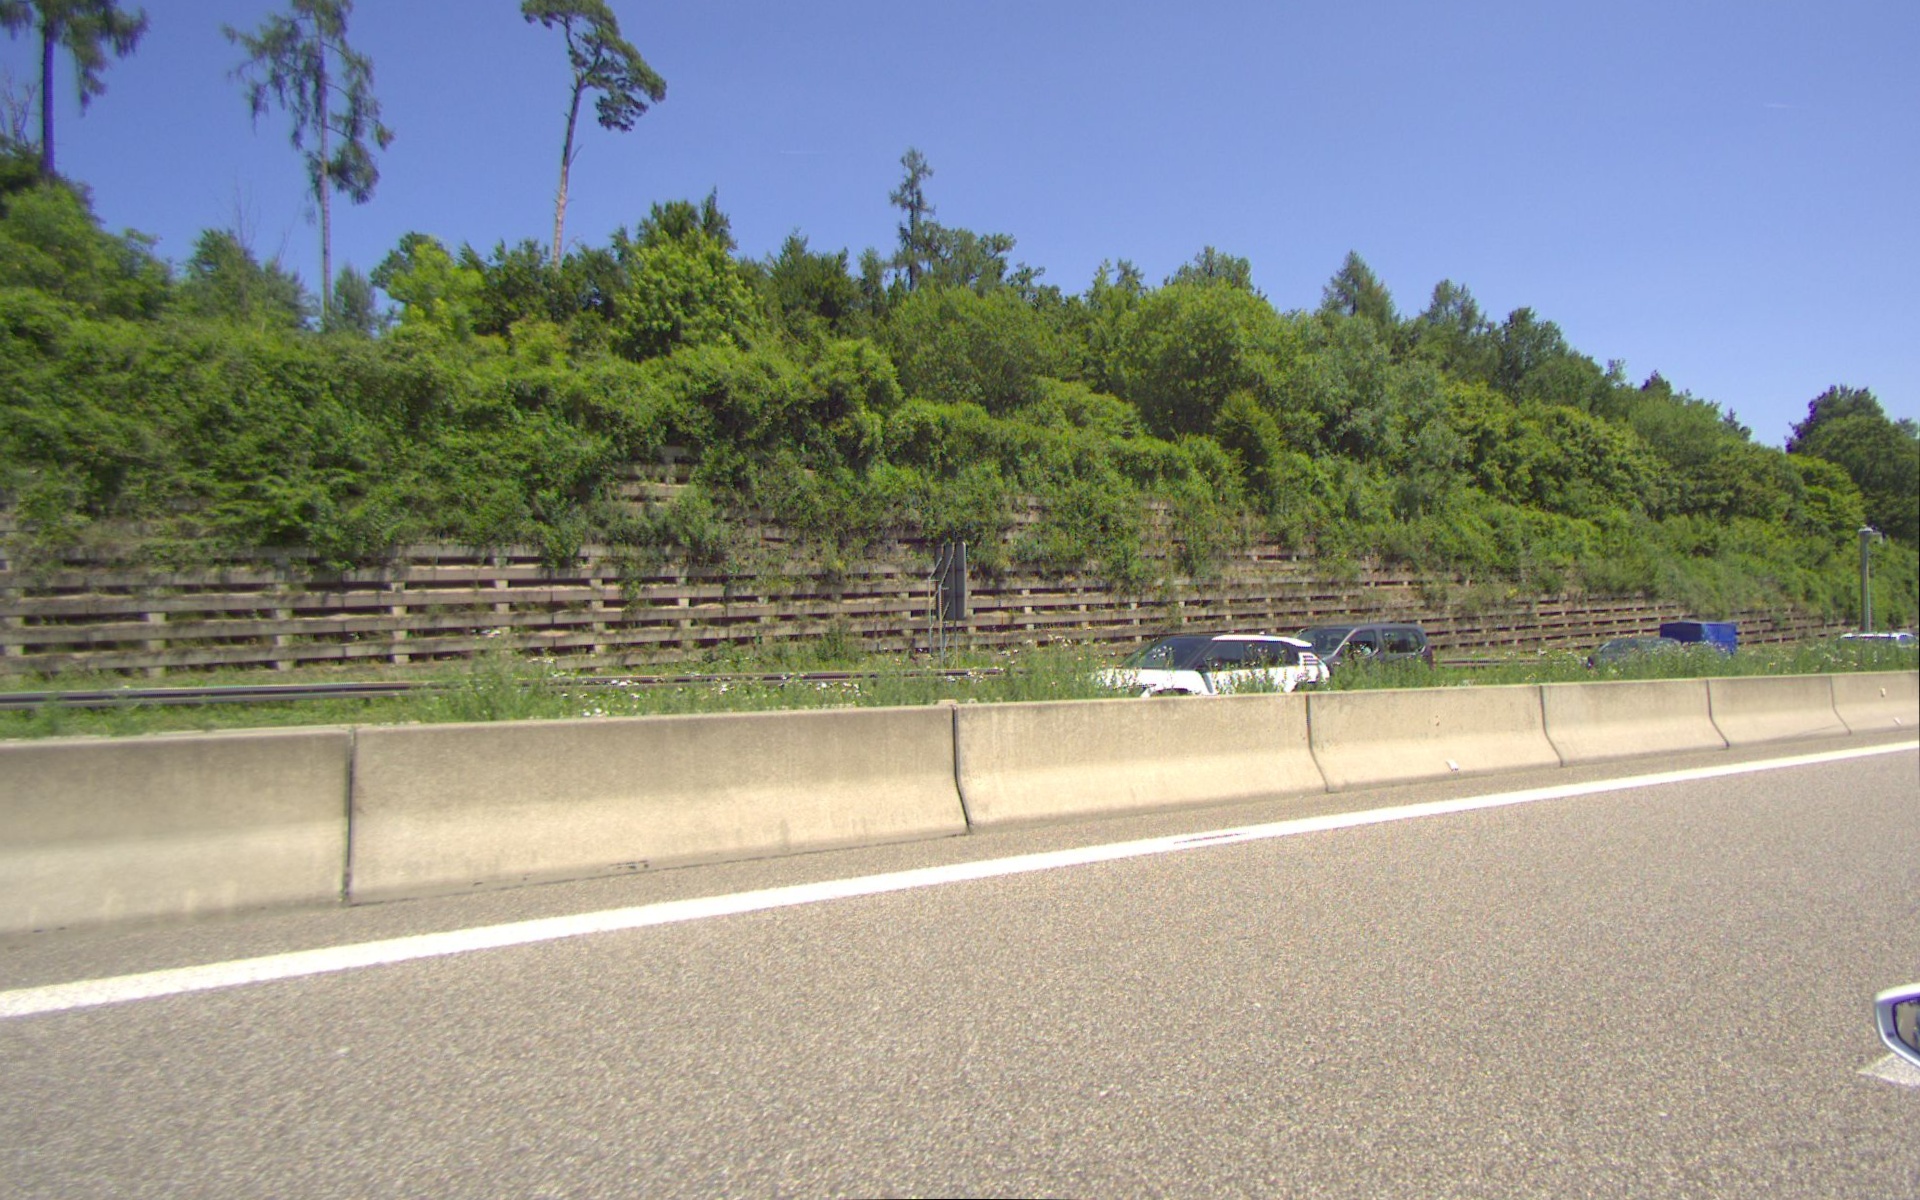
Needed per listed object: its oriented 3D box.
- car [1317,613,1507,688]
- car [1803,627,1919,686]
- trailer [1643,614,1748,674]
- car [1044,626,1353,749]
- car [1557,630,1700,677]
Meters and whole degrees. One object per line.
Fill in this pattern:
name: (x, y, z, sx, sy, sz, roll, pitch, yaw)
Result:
car: (10.107, 1.087, 22.411, 4.152, 1.542, 1.780, 1, -2, -29)
car: (25.550, 1.526, 28.134, 4.156, 1.542, 1.778, 1, -2, -32)
trailer: (27.436, 1.619, 37.481, 3.452, 2.145, 1.887, 1, -1, -29)
car: (3.471, 1.150, 14.516, 4.152, 1.542, 1.929, 1, -2, -29)
car: (23.530, 1.827, 35.306, 5.409, 1.542, 1.929, 1, -2, -29)
